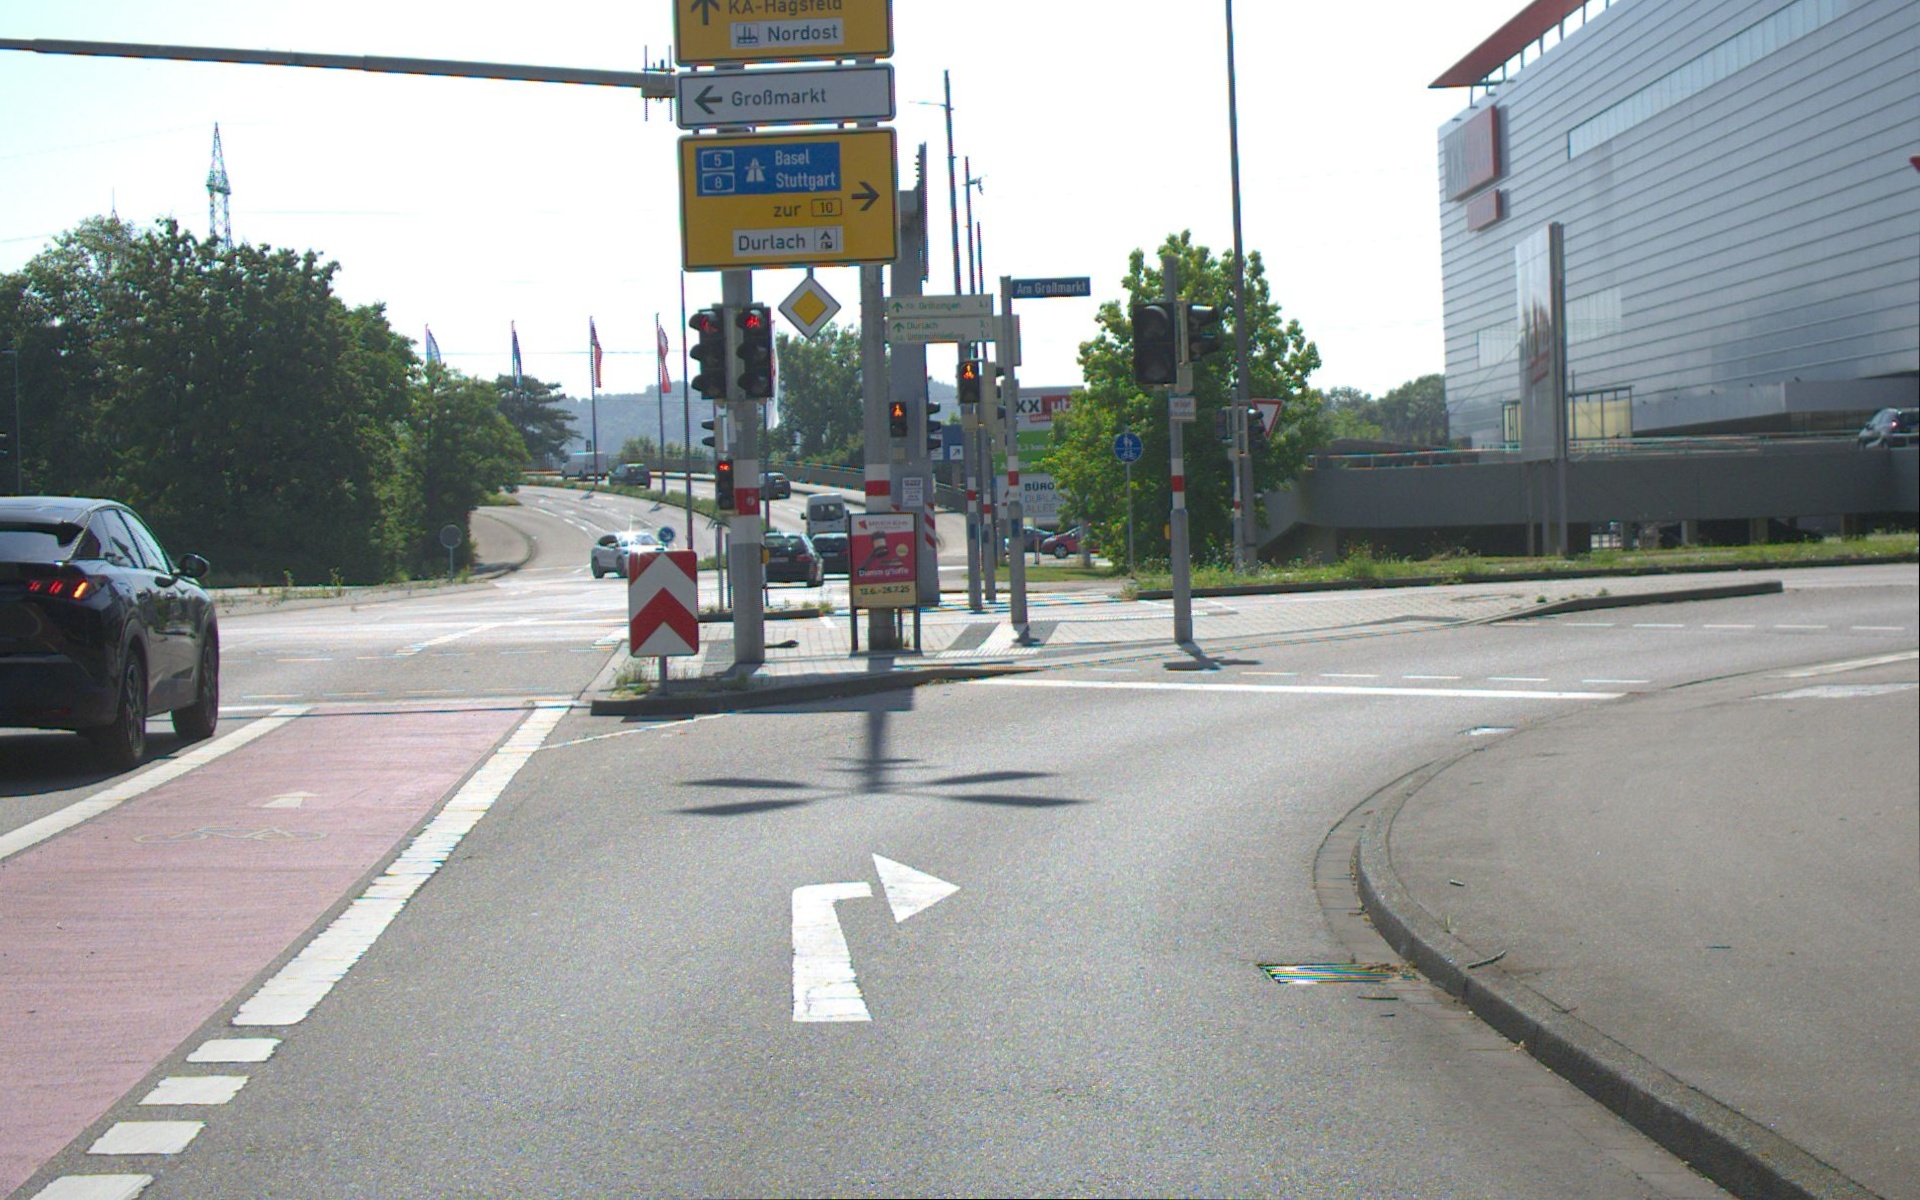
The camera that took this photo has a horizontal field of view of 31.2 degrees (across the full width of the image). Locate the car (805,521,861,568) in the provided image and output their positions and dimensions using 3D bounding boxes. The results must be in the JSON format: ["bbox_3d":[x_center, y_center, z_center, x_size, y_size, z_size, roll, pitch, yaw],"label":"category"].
[{"bbox_3d":[-4.013,-1.764,109.097,1.689,1.354,4.001,0,3,-1],"label":"car"}]

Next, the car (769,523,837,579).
[{"bbox_3d":[-4.134,-1.315,90.884,1.689,1.354,4.001,0,3,-1],"label":"car"}]

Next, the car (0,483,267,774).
[{"bbox_3d":[-5.806,0.118,21.847,1.807,1.634,4.459,-2,2,1],"label":"car"}]

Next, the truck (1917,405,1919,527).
[{"bbox_3d":[21.382,-2.591,66.923,4.880,2.415,2.000,0,3,-2],"label":"truck"}]

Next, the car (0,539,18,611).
[{"bbox_3d":[-20.698,-0.444,69.938,1.816,1.459,4.000,-2,1,2],"label":"car"}]

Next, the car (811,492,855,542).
[{"bbox_3d":[-6.101,-4.001,165.390,1.993,2.313,4.001,0,3,-1],"label":"car"}]

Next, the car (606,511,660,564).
[{"bbox_3d":[-11.645,-2.229,122.616,1.760,1.787,3.348,-2,2,-4],"label":"car"}]

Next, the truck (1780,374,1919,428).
[{"bbox_3d":[34.005,-7.467,129.118,5.909,2.006,2.000,0,3,0],"label":"truck"}]

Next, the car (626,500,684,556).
[{"bbox_3d":[-11.629,-2.772,131.187,1.993,2.006,3.982,0,3,-2],"label":"car"}]
